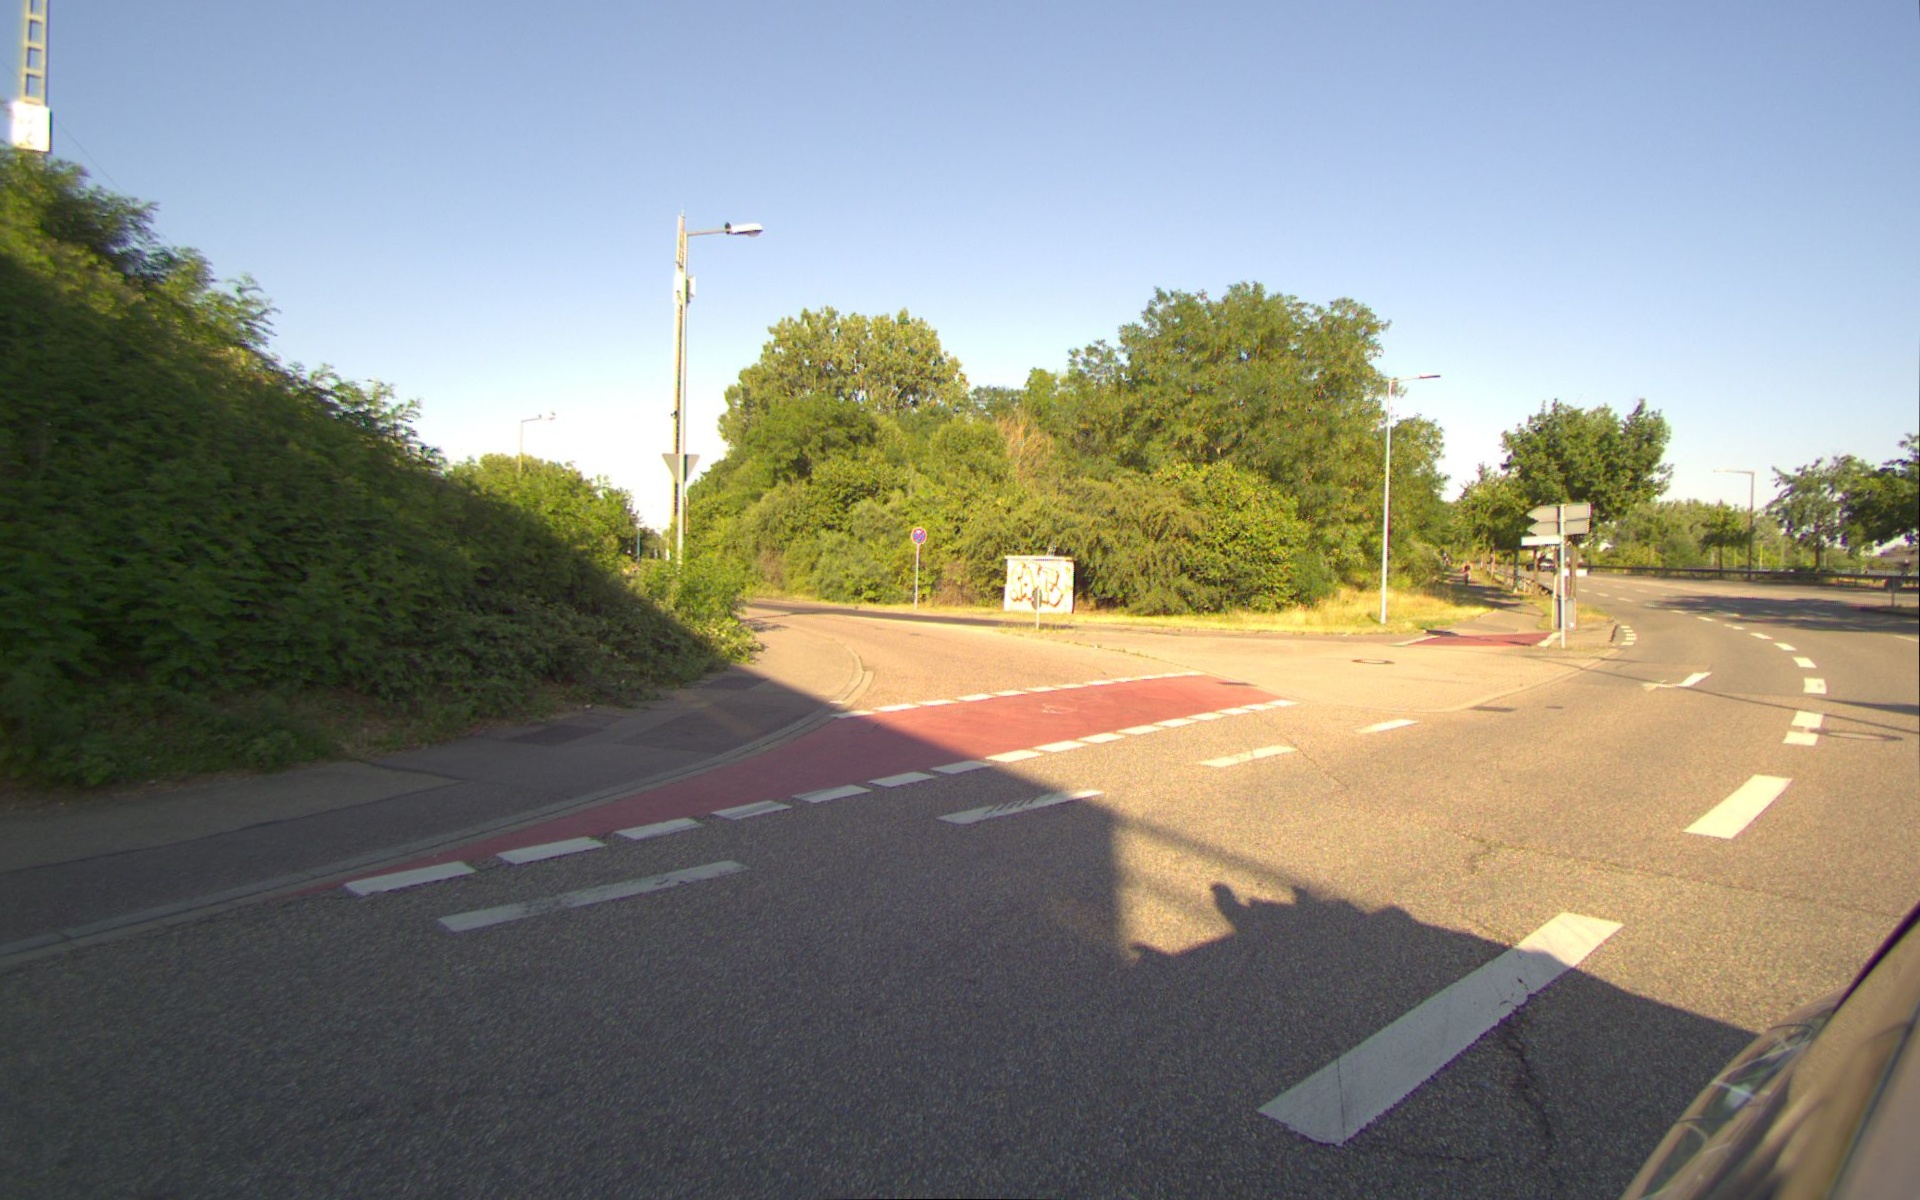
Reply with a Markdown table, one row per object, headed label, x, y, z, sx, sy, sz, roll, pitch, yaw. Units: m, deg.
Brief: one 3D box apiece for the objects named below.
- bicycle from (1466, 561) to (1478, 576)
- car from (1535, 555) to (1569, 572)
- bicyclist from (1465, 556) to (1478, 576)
| label | x | y | z | sx | sy | sz | roll | pitch | yaw |
| --- | --- | --- | --- | --- | --- | --- | --- | --- | --- |
| bicycle | 36.782 | -2.250 | 72.722 | 0.775 | 1.070 | 2.473 | 0 | 0 | 27 |
| car | 64.777 | -3.977 | 110.780 | 1.968 | 1.794 | 3.989 | 0 | 0 | 10 |
| bicyclist | 36.772 | -2.453 | 72.733 | 0.836 | 1.439 | 1.103 | 0 | 0 | 28 |
